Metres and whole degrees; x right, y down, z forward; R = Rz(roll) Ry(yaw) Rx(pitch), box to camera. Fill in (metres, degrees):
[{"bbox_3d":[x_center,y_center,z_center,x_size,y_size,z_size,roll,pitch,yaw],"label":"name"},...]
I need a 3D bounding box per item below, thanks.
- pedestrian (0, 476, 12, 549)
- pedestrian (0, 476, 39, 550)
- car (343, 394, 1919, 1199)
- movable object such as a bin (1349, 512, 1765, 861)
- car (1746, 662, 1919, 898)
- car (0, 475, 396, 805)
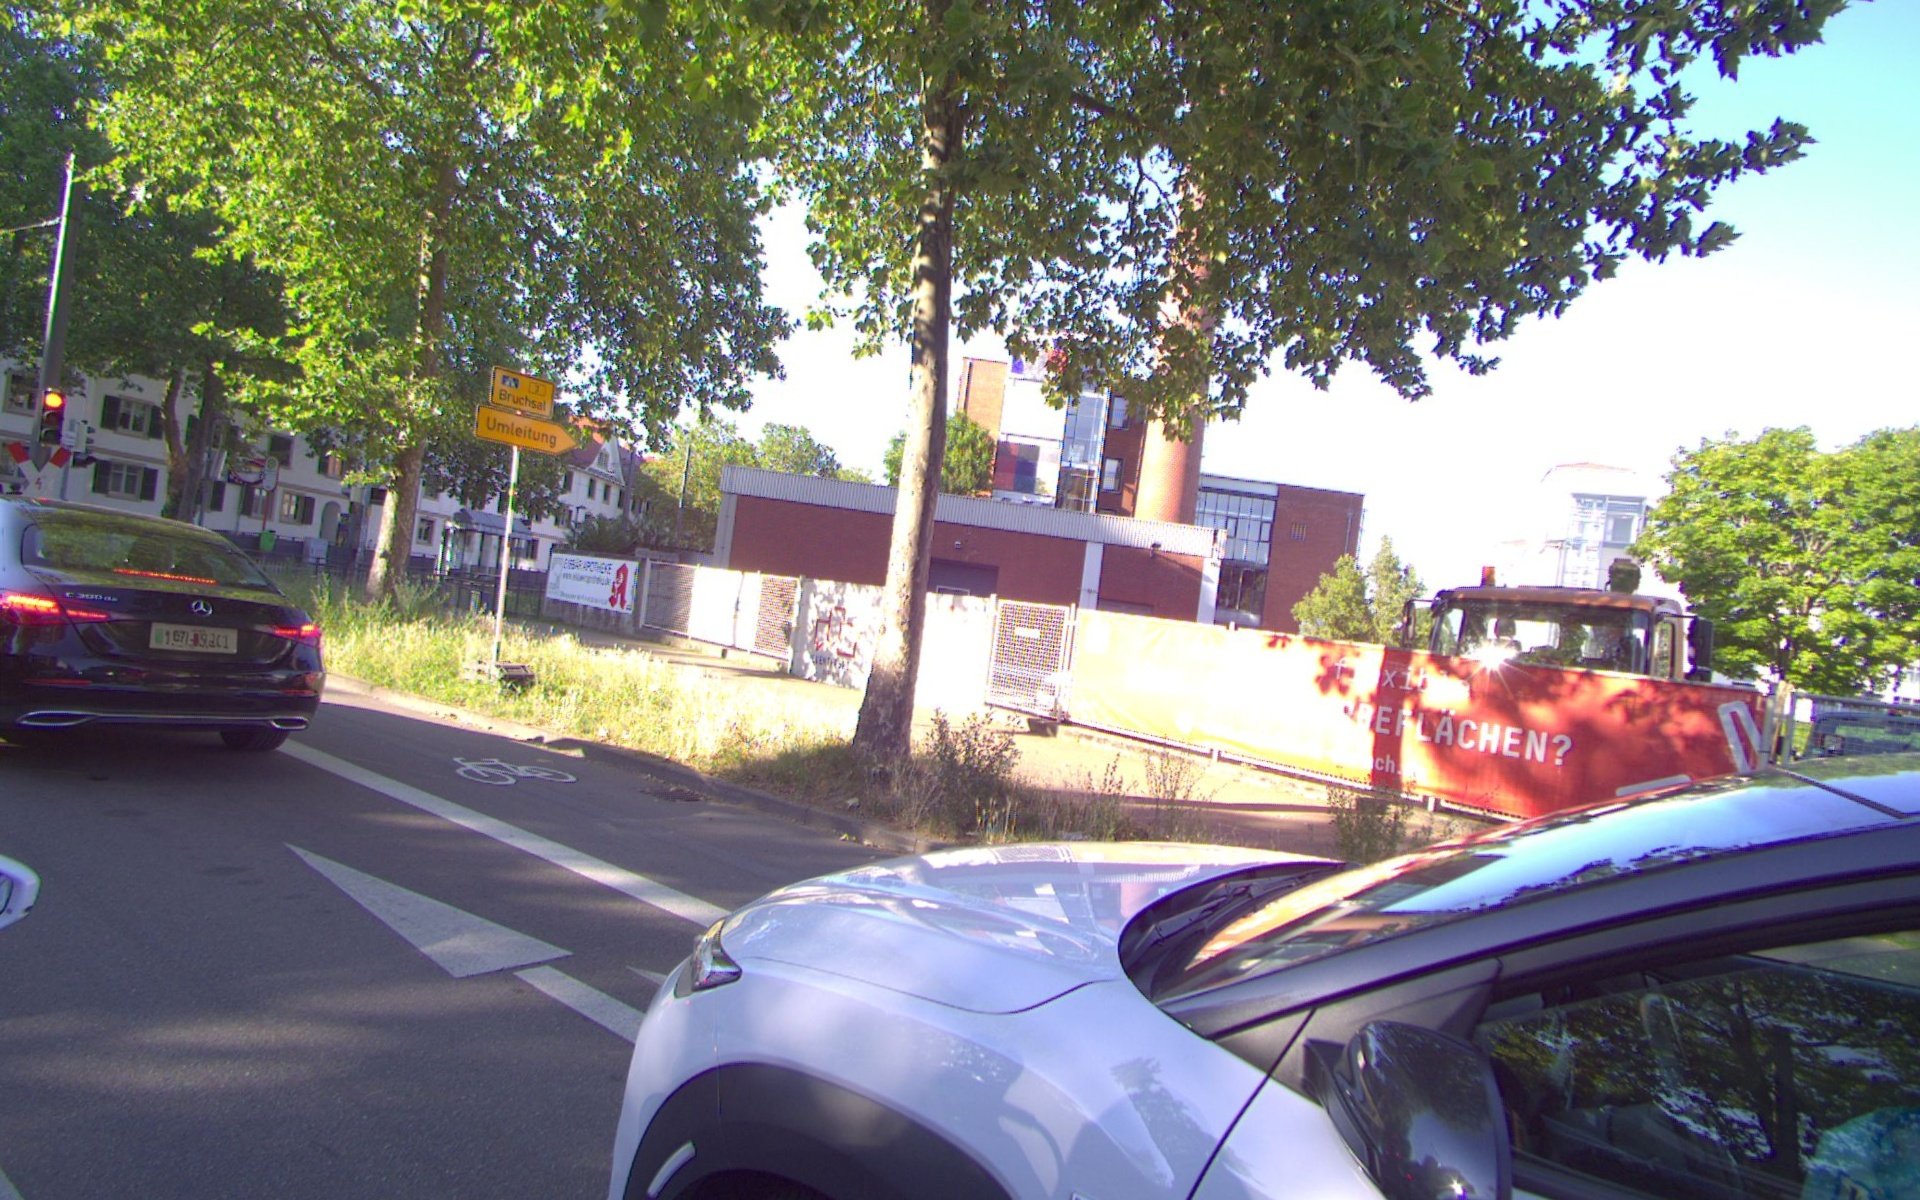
[{"bbox_3d":[-26.117,-2.394,26.909,0.825,1.940,0.707,7,-1,28],"label":"pedestrian"},{"bbox_3d":[-26.520,-2.430,28.129,0.825,1.940,0.707,7,-1,28],"label":"pedestrian"},{"bbox_3d":[1.211,0.833,1.294,3.901,1.616,1.893,9,-1,33],"label":"car"},{"bbox_3d":[7.645,1.037,12.404,3.172,3.084,6.266,6,-2,41],"label":"movable object such as a bin"},{"bbox_3d":[9.574,1.827,10.146,2.016,1.849,4.583,6,-3,44],"label":"car"},{"bbox_3d":[-5.927,0.041,6.674,4.309,1.508,1.893,9,-1,33],"label":"car"}]
